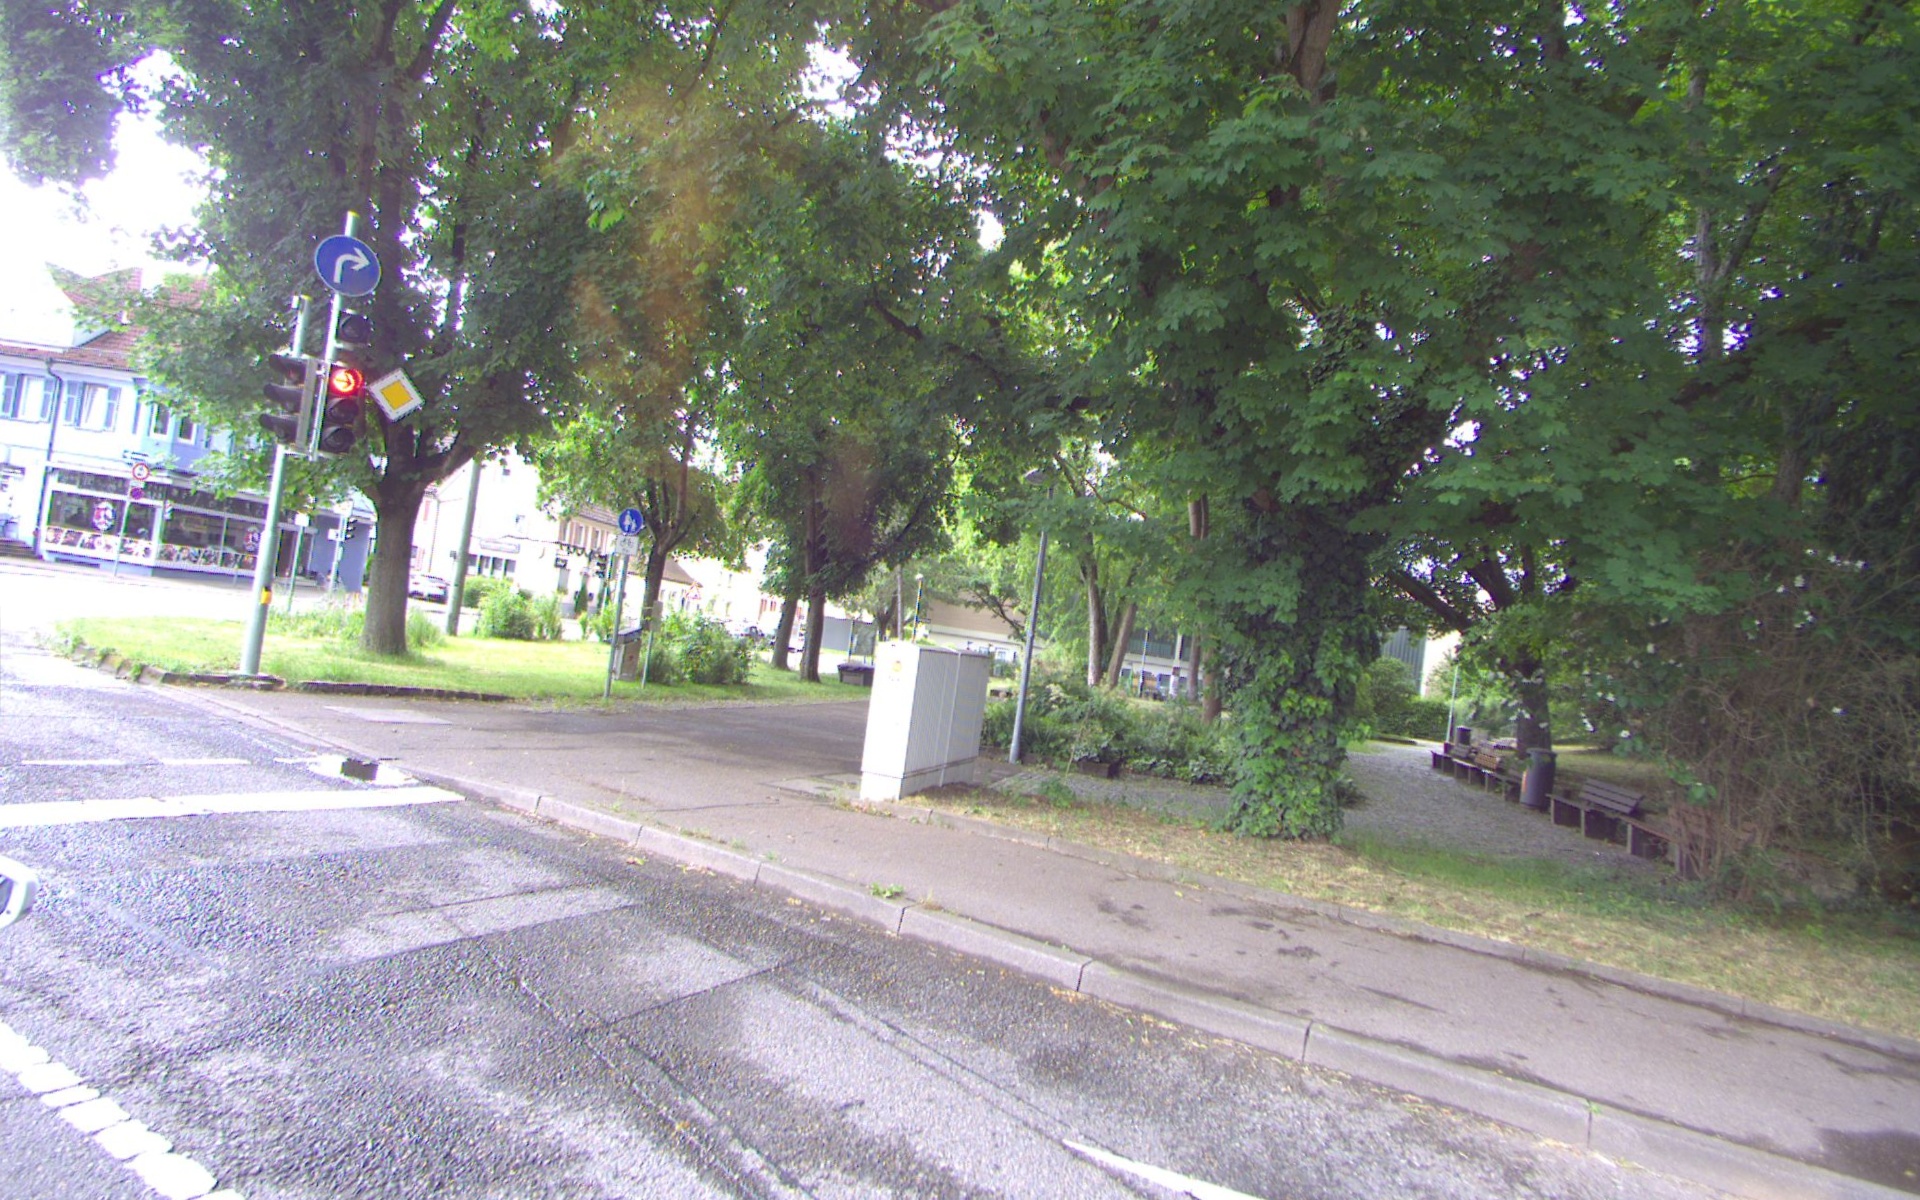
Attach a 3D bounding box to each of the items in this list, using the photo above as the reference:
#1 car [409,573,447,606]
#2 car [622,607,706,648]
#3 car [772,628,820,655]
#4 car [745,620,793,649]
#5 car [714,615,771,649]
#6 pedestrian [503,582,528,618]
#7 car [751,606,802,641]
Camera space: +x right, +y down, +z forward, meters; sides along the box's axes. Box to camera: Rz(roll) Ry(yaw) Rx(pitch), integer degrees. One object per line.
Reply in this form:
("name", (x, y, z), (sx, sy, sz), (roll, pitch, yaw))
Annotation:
("car", (-28.106, -0.569, 53.153), (1.554, 1.478, 3.417), (9, -3, -27))
("car", (-13.125, 1.271, 44.958), (1.864, 1.472, 4.553), (7, -3, 6))
("car", (-10.755, 2.761, 66.442), (1.888, 1.472, 4.408), (7, -3, 6))
("car", (-11.384, 2.108, 60.164), (1.706, 1.406, 3.746), (7, -2, 6))
("car", (-11.842, 1.783, 55.002), (1.838, 1.589, 4.004), (7, -2, 4))
("pedestrian", (-22.390, -0.007, 50.676), (0.743, 1.716, 0.647), (7, -1, 3))
("car", (-15.121, 2.004, 83.103), (2.292, 2.419, 5.967), (7, -2, 6))
